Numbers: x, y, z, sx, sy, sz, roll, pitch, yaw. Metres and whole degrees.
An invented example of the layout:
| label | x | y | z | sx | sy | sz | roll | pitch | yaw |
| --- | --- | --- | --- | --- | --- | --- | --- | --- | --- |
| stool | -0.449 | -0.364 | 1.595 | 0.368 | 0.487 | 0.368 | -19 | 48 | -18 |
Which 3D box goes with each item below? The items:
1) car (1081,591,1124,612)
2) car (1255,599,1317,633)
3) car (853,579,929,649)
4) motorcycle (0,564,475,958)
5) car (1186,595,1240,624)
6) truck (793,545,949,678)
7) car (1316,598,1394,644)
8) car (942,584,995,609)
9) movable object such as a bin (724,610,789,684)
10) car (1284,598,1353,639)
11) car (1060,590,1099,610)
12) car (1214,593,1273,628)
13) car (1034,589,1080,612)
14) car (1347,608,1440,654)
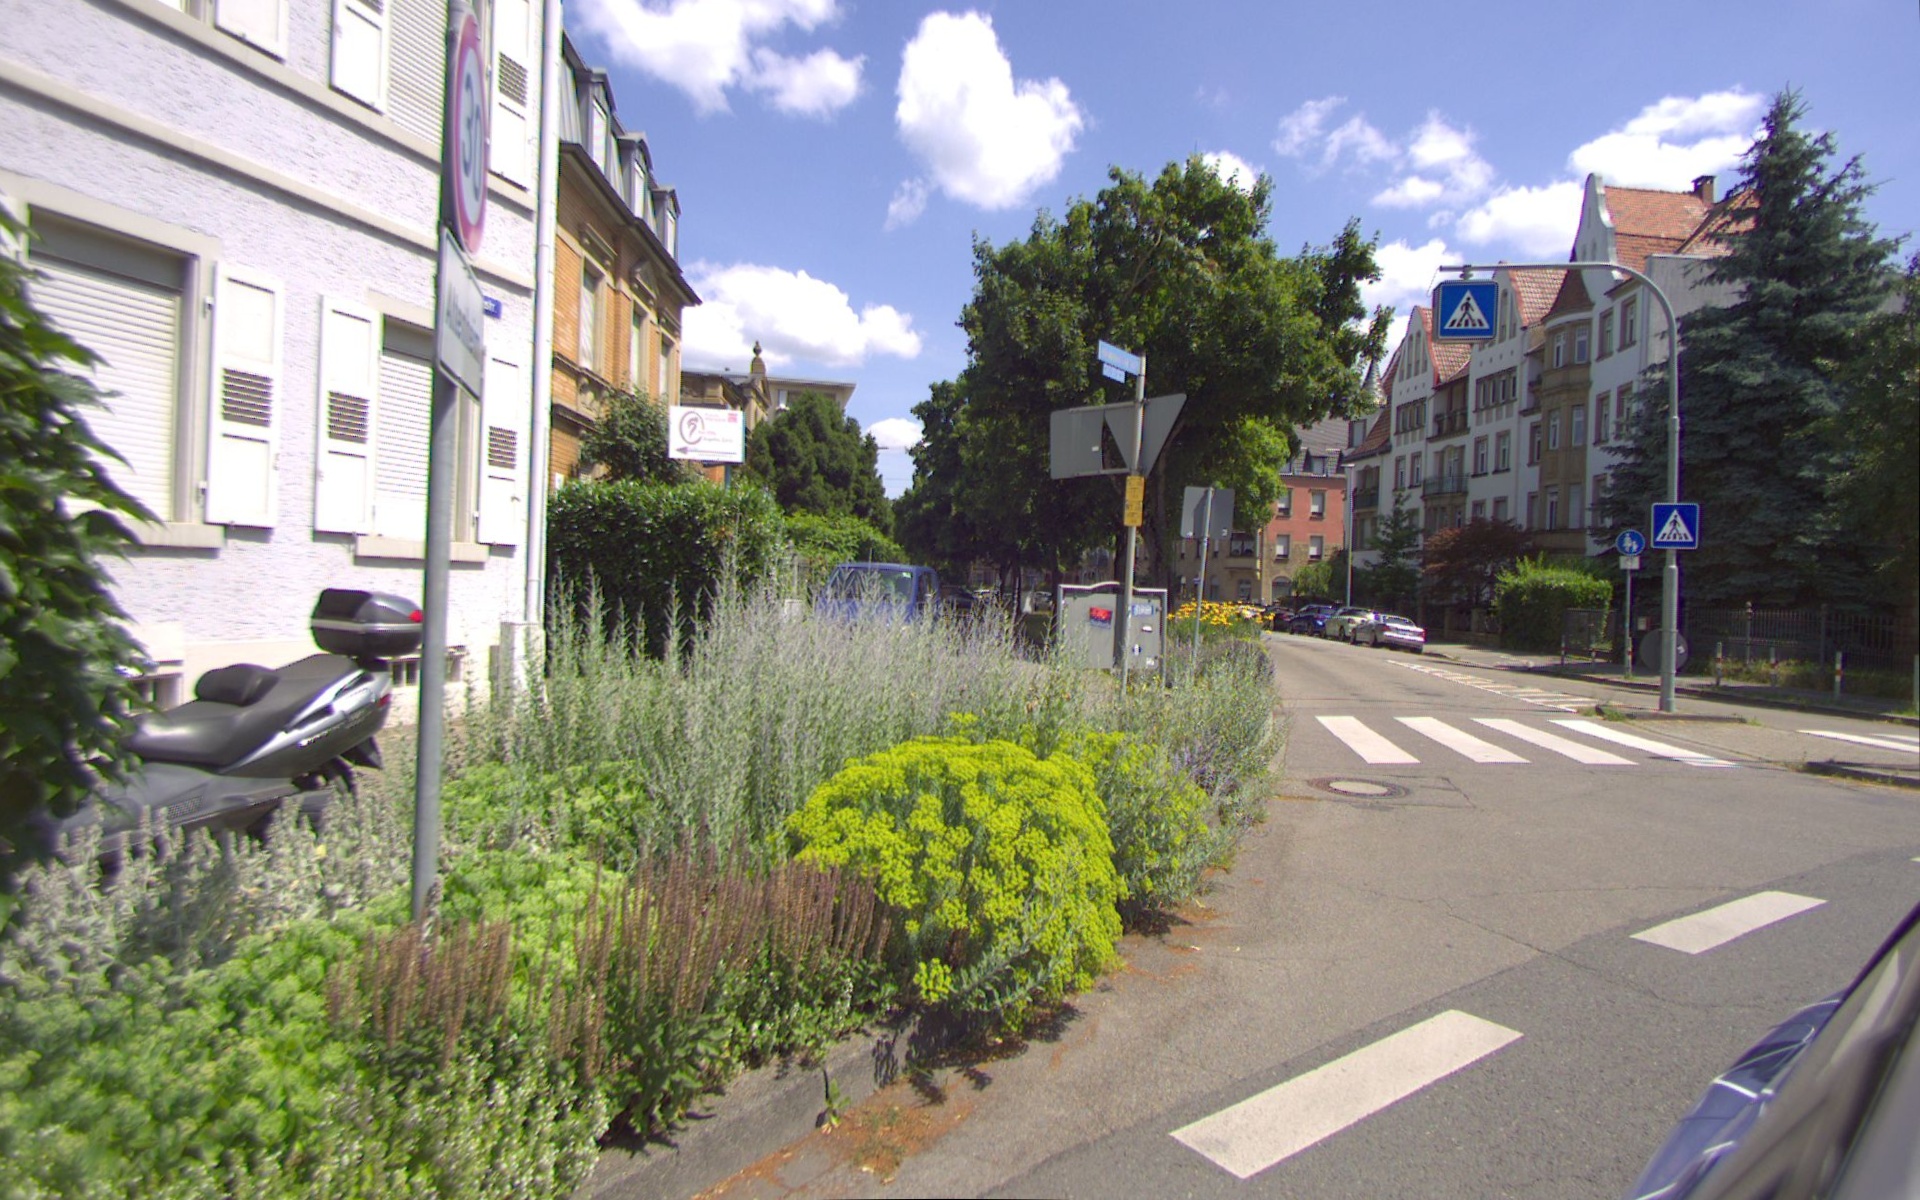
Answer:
| label | x | y | z | sx | sy | sz | roll | pitch | yaw |
| --- | --- | --- | --- | --- | --- | --- | --- | --- | --- |
| car | 11.751 | 0.080 | 83.630 | 1.958 | 1.638 | 4.194 | 1 | 1 | -15 |
| car | 16.906 | 0.799 | 52.642 | 1.742 | 1.405 | 4.000 | 7 | 1 | 0 |
| car | -1.736 | 0.309 | 25.268 | 1.680 | 1.545 | 3.857 | 3 | 0 | -4 |
| motorcycle | -3.376 | 0.547 | 4.395 | 0.794 | 1.369 | 2.319 | 2 | 1 | 24 |
| car | 15.649 | 0.541 | 62.885 | 1.739 | 1.407 | 3.883 | 7 | 1 | -9 |
| truck | -1.414 | 0.159 | 18.285 | 1.882 | 1.950 | 5.275 | 3 | 0 | 4 |
| car | 16.368 | 0.825 | 42.120 | 1.744 | 1.534 | 3.995 | 7 | 1 | 4 |
| car | 0.694 | -0.321 | 82.446 | 3.944 | 1.883 | 1.915 | 2 | 1 | 16 |
| movable object such as a bin | -2.812 | 0.636 | 14.002 | 0.614 | 0.973 | 0.626 | 2 | 1 | 37 |
| car | 16.672 | 0.821 | 47.223 | 1.743 | 1.534 | 3.998 | 7 | 1 | 2 |
| car | 10.408 | -0.008 | 88.462 | 1.958 | 1.638 | 4.194 | 1 | 1 | -15 |
| car | 16.276 | 0.582 | 58.340 | 1.739 | 1.633 | 3.882 | 7 | 1 | -7 |
| car | 7.464 | -0.003 | 78.168 | 1.958 | 1.638 | 4.195 | 1 | 1 | -18 |
| car | 15.756 | 1.091 | 36.999 | 1.787 | 1.343 | 3.995 | 6 | 1 | 4 |
